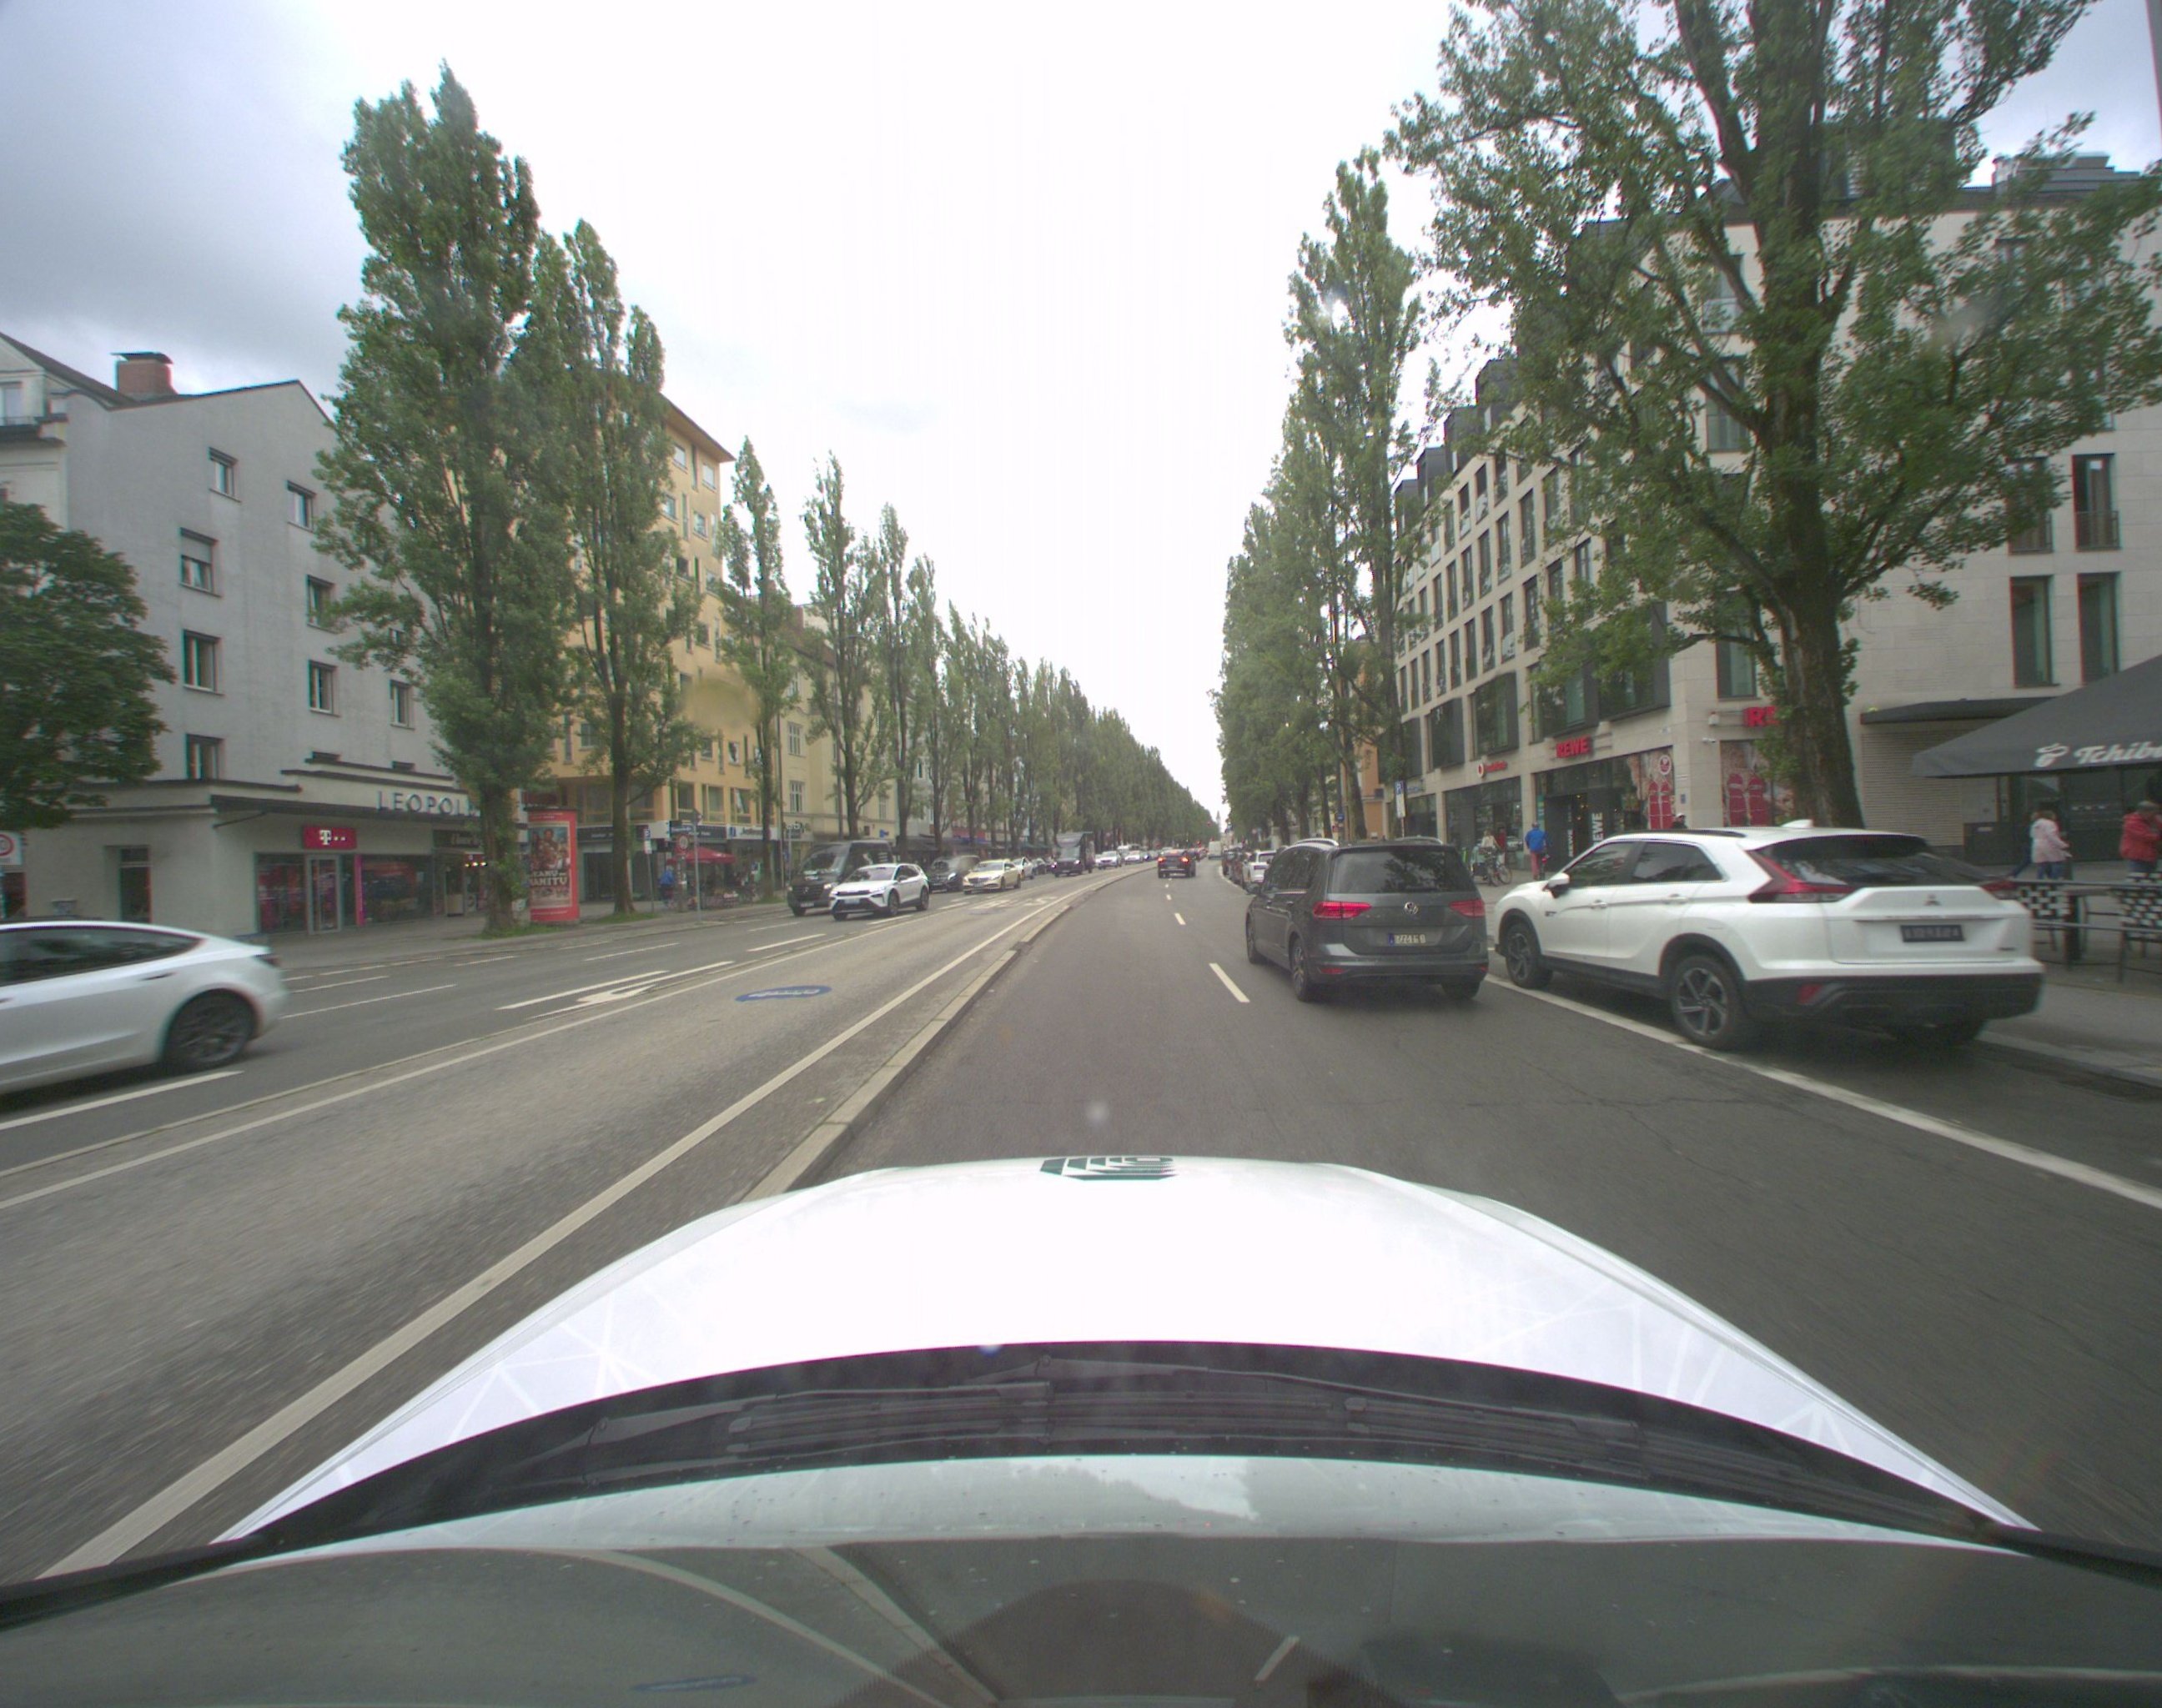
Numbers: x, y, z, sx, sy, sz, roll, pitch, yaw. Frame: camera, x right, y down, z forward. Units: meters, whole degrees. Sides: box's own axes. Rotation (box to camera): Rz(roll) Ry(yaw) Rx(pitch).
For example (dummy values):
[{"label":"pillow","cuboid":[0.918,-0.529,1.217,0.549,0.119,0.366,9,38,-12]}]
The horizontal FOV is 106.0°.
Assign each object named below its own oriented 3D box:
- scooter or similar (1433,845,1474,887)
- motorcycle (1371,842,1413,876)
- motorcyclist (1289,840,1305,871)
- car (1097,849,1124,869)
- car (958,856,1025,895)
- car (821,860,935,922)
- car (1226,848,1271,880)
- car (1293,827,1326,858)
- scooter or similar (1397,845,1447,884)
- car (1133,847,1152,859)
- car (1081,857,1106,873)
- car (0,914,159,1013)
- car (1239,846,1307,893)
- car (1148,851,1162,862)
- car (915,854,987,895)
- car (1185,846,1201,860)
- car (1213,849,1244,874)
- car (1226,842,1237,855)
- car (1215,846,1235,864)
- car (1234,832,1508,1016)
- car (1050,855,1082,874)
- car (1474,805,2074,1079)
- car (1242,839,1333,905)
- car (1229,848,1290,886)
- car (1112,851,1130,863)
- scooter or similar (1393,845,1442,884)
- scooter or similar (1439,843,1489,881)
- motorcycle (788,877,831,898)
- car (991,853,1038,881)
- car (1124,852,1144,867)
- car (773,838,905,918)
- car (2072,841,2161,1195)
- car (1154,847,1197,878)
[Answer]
[{"label":"scooter or similar","cuboid":[11.370,0.357,24.868,1.046,1.226,0.380,-3,0,2]},{"label":"motorcycle","cuboid":[12.781,0.204,33.502,0.687,1.356,1.634,-3,0,-17]},{"label":"motorcyclist","cuboid":[10.182,0.071,38.381,0.561,1.406,0.767,-4,0,6]},{"label":"car","cuboid":[2.874,0.491,78.492,1.849,1.711,4.549,-4,0,10]},{"label":"car","cuboid":[-4.300,0.978,40.034,1.982,1.589,5.207,-4,0,8]},{"label":"car","cuboid":[-6.214,1.078,25.519,1.899,1.603,4.364,-3,0,7]},{"label":"car","cuboid":[8.509,0.471,41.619,1.837,1.428,4.434,-2,0,7]},{"label":"car","cuboid":[18.223,-0.926,64.769,1.884,2.328,4.851,-3,0,22]},{"label":"scooter or similar","cuboid":[11.063,0.335,26.449,1.429,1.201,0.311,-3,0,1]},{"label":"car","cuboid":[8.267,-0.107,109.345,1.981,1.432,4.786,-4,0,10]},{"label":"car","cuboid":[1.402,1.201,88.160,1.928,1.493,4.469,-3,0,9]},{"label":"car","cuboid":[-18.910,1.953,13.495,4.532,1.439,1.905,-4,0,-41]},{"label":"car","cuboid":[6.939,0.500,29.868,1.801,1.500,4.814,-3,0,6]},{"label":"car","cuboid":[11.020,0.378,120.415,1.701,1.414,3.733,-3,0,10]},{"label":"car","cuboid":[-6.862,1.021,43.721,1.981,1.863,5.727,-5,0,9]},{"label":"car","cuboid":[13.734,-0.067,100.028,1.748,1.619,3.757,-1,-1,10]},{"label":"car","cuboid":[9.354,0.428,51.784,1.723,1.394,4.444,-3,0,8]},{"label":"car","cuboid":[25.778,-0.918,139.257,1.793,1.992,4.011,-1,-1,10]},{"label":"car","cuboid":[13.133,0.071,74.321,1.614,1.565,4.383,-3,0,10]},{"label":"car","cuboid":[3.014,0.626,9.456,1.755,1.613,4.185,-2,0,1]},{"label":"car","cuboid":[-1.276,0.897,71.322,1.927,1.434,4.551,-3,0,10]},{"label":"car","cuboid":[5.456,0.548,7.369,1.721,1.686,4.409,-2,0,1]},{"label":"car","cuboid":[5.918,0.497,23.819,1.915,1.700,4.658,-1,0,6]},{"label":"car","cuboid":[7.750,0.509,35.751,1.922,1.450,4.810,-3,0,5]},{"label":"car","cuboid":[5.531,0.386,111.227,1.837,1.564,4.224,-3,-1,10]},{"label":"scooter or similar","cuboid":[11.070,0.329,26.778,1.429,1.201,0.311,-3,0,1]},{"label":"scooter or similar","cuboid":[12.932,0.264,27.511,1.377,1.211,0.555,-3,0,7]},{"label":"motorcycle","cuboid":[-14.347,1.784,43.084,2.056,1.036,0.484,-1,-1,-11]},{"label":"car","cuboid":[-4.512,0.879,55.743,1.981,1.651,4.649,-4,0,10]},{"label":"car","cuboid":[6.428,0.667,98.763,1.928,1.642,4.476,-3,0,9]},{"label":"car","cuboid":[-8.896,0.782,30.665,2.157,2.605,6.081,-3,0,10]},{"label":"car","cuboid":[5.249,0.666,1.318,1.765,1.433,4.571,-1,0,0]},{"label":"car","cuboid":[5.678,0.472,48.258,1.867,1.641,4.600,-3,0,14]}]
